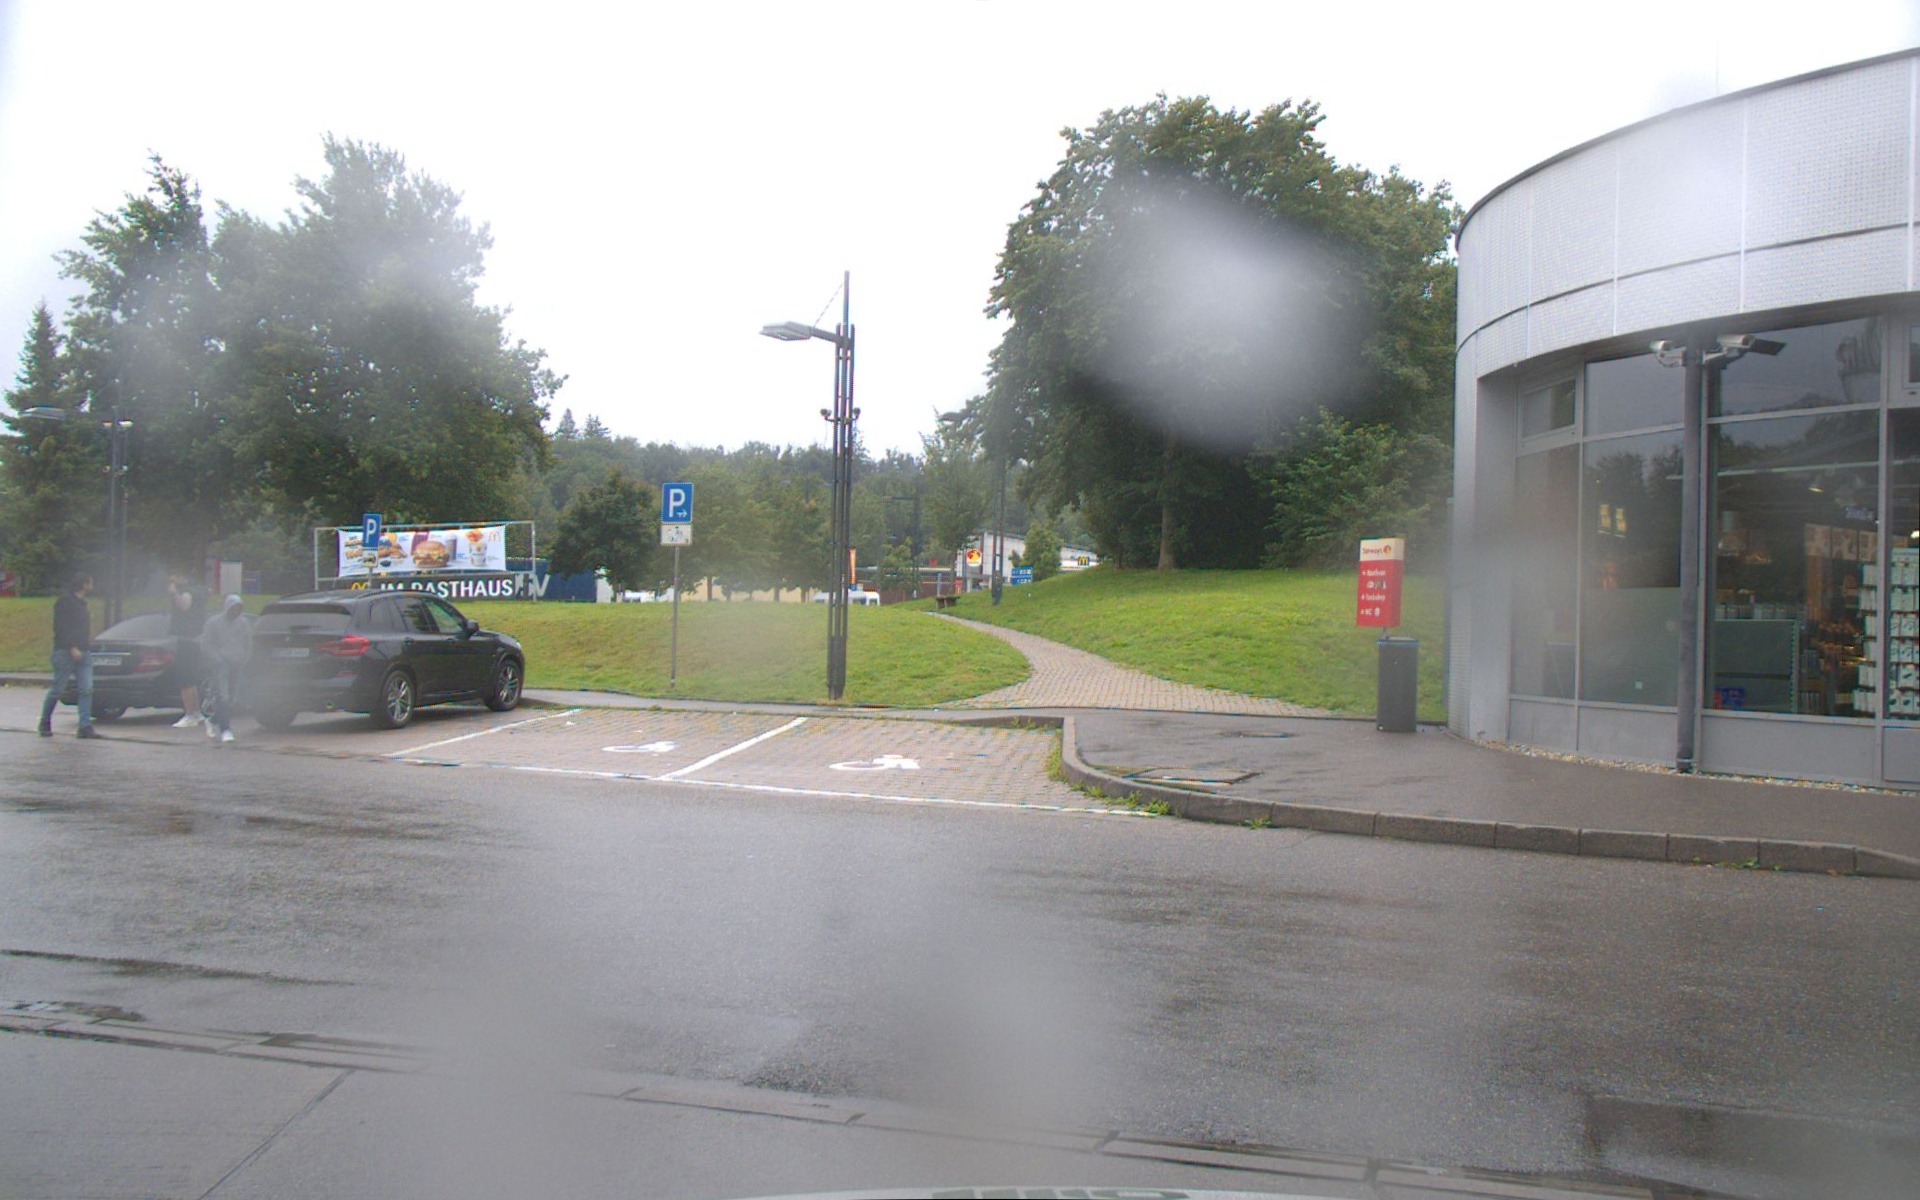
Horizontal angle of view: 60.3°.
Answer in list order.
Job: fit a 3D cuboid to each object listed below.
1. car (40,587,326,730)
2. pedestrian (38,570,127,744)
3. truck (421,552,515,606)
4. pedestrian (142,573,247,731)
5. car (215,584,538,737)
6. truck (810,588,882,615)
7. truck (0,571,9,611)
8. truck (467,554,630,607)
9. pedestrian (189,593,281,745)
[{"bbox_3d":[-10.565,0.717,22.907,1.976,1.741,4.342,-1,1,-2],"label":"car"},{"bbox_3d":[-9.979,0.629,18.807,0.697,1.920,0.880,1,-1,-41],"label":"pedestrian"},{"bbox_3d":[-27.966,-1.176,94.273,2.142,2.971,5.384,1,0,24],"label":"truck"},{"bbox_3d":[-9.572,0.633,20.706,0.687,1.920,0.954,1,-1,23],"label":"pedestrian"},{"bbox_3d":[-7.358,0.691,21.388,1.973,1.741,4.347,-1,1,11],"label":"car"},{"bbox_3d":[-9.216,0.131,133.684,5.298,2.049,2.366,1,0,24],"label":"truck"},{"bbox_3d":[-77.024,-0.730,130.566,2.443,3.139,7.305,1,0,-23],"label":"truck"},{"bbox_3d":[-24.915,-1.093,101.288,2.142,2.971,13.092,1,0,23],"label":"truck"},{"bbox_3d":[-8.222,0.764,18.748,0.697,1.660,0.940,1,-1,-40],"label":"pedestrian"}]
